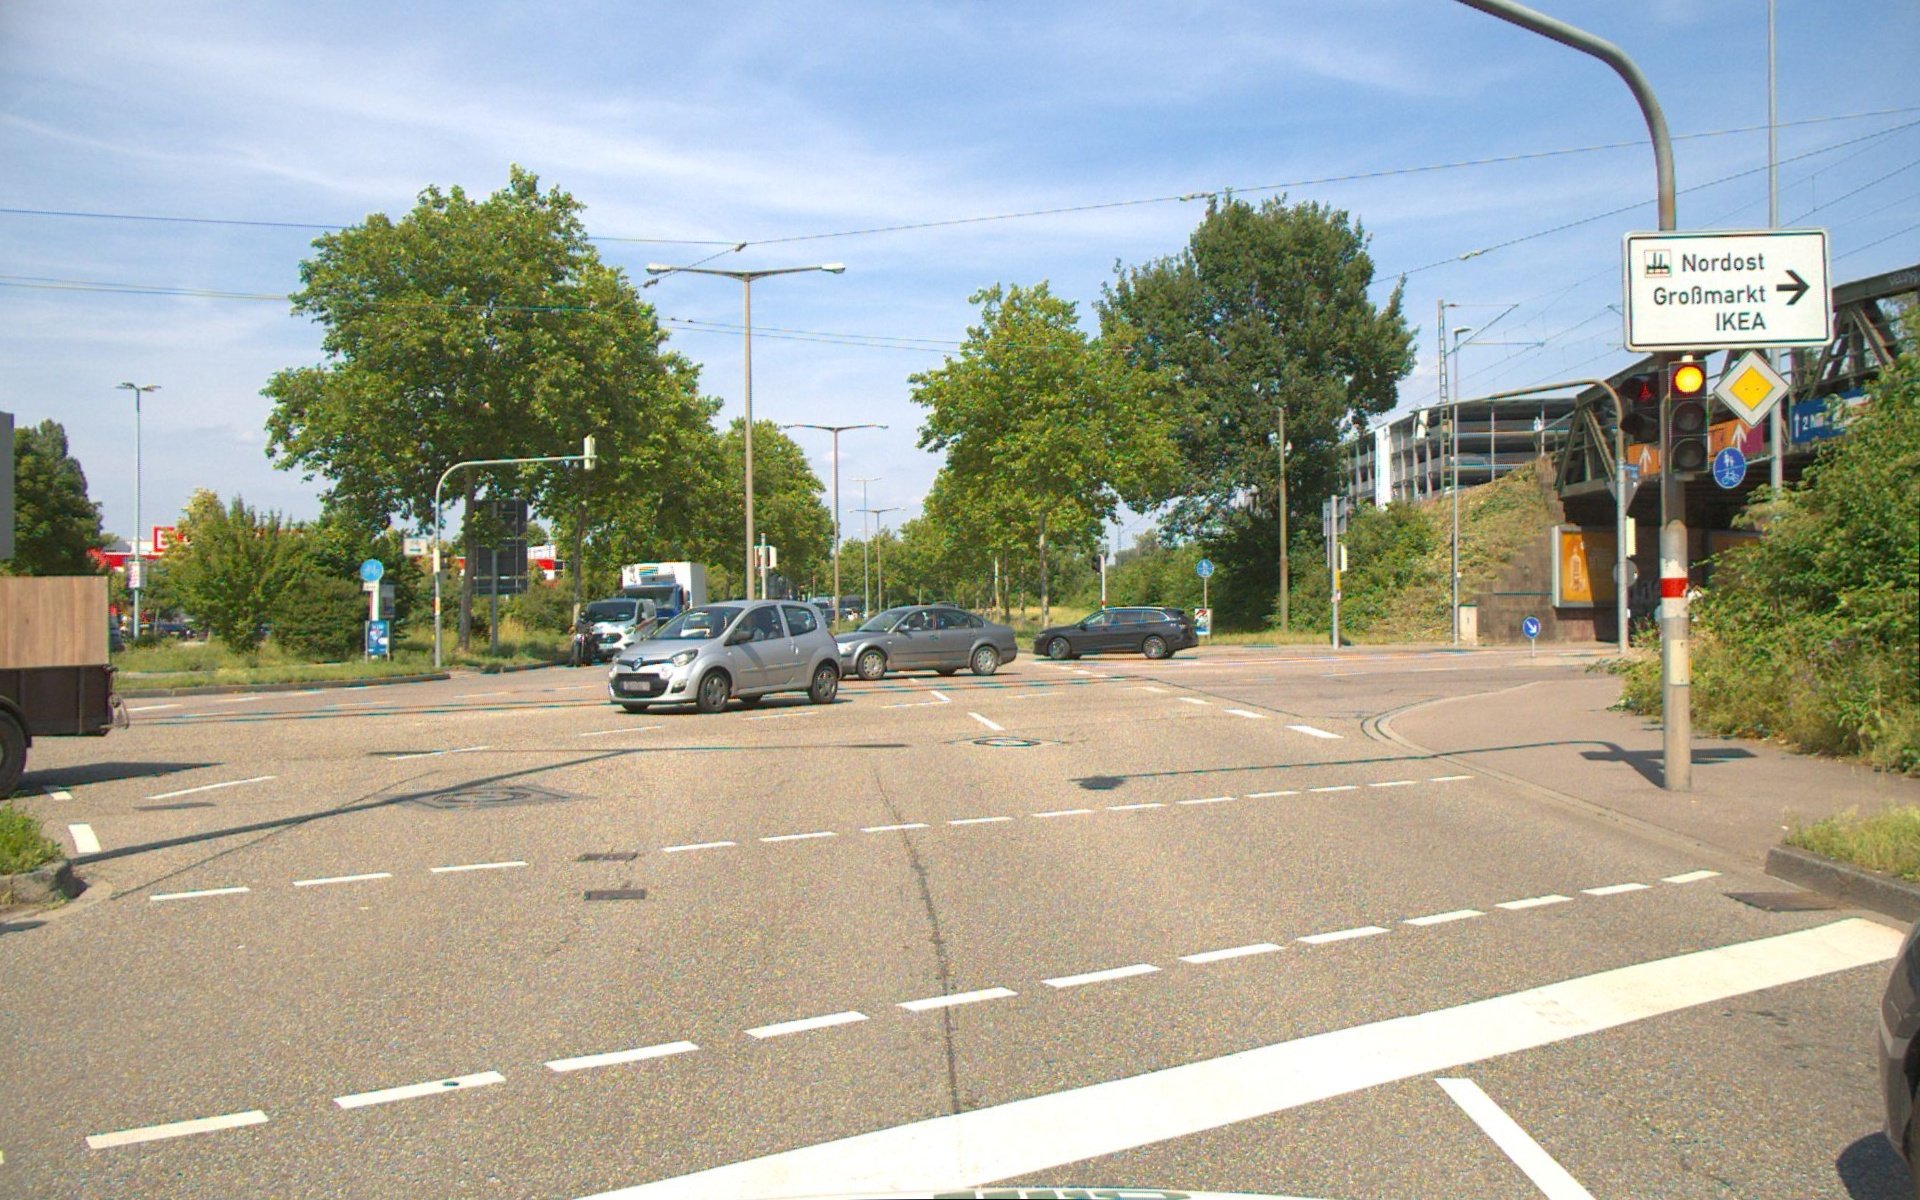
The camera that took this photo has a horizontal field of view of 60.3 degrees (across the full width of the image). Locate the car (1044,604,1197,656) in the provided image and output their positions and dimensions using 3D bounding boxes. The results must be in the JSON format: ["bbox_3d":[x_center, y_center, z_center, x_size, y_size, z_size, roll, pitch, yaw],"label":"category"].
[{"bbox_3d":[4.660,0.854,47.706,4.160,1.416,1.841,-1,0,14],"label":"car"}]

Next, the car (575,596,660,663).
[{"bbox_3d":[-10.940,0.902,53.154,1.937,2.034,5.028,-1,0,-3],"label":"car"}]

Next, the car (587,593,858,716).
[{"bbox_3d":[-3.215,0.689,22.996,1.621,1.540,3.722,-1,0,35],"label":"car"}]

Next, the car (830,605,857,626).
[{"bbox_3d":[-8.786,1.165,125.054,1.747,1.484,4.471,-2,0,-1],"label":"car"}]

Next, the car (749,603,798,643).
[{"bbox_3d":[-8.057,0.991,71.833,1.654,1.614,4.239,-2,0,-1],"label":"car"}]

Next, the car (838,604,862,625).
[{"bbox_3d":[-8.777,1.153,131.842,1.654,1.537,3.814,-2,0,-1],"label":"car"}]

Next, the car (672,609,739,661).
[{"bbox_3d":[-8.039,1.078,52.517,1.560,1.503,3.728,-2,0,-1],"label":"car"}]

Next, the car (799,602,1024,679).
[{"bbox_3d":[-0.938,0.780,33.576,4.409,1.436,1.620,-1,0,-34],"label":"car"}]

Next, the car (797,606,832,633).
[{"bbox_3d":[-8.547,1.135,97.430,1.749,1.515,4.209,-2,0,-2],"label":"car"}]

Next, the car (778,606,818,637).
[{"bbox_3d":[-8.282,1.086,84.739,1.654,1.497,3.814,-2,0,-1],"label":"car"}]

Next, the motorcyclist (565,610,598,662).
[{"bbox_3d":[-10.999,1.045,48.074,0.728,1.496,0.987,-1,0,-1],"label":"motorcyclist"}]

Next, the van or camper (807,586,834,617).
[{"bbox_3d":[-12.445,0.133,147.695,1.974,2.633,5.516,-2,0,-1],"label":"van or camper"}]

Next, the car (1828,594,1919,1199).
[{"bbox_3d":[3.007,0.737,2.091,1.640,1.479,4.035,1,0,-1],"label":"car"}]

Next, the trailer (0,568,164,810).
[{"bbox_3d":[-7.990,0.656,11.917,2.018,1.745,3.994,-1,0,13],"label":"trailer"}]

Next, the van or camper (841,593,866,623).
[{"bbox_3d":[-9.062,0.721,140.571,1.899,2.410,5.395,-2,-1,-2],"label":"van or camper"}]

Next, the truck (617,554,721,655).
[{"bbox_3d":[-11.047,0.157,63.402,2.747,3.532,6.690,-3,0,-1],"label":"truck"}]

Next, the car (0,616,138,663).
[{"bbox_3d":[-29.707,1.288,54.199,4.477,1.439,2.197,-1,0,-8],"label":"car"}]

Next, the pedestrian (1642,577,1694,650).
[{"bbox_3d":[16.337,0.306,38.164,0.850,1.640,0.777,-1,0,-1],"label":"pedestrian"}]

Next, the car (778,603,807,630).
[{"bbox_3d":[-12.020,1.172,118.714,1.654,1.891,4.035,-2,-1,-1],"label":"car"}]

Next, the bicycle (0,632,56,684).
[{"bbox_3d":[-19.941,1.214,34.696,0.581,1.055,1.897,-1,0,13],"label":"bicycle"}]

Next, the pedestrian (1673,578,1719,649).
[{"bbox_3d":[17.096,0.309,38.429,0.714,1.607,0.777,-1,0,-1],"label":"pedestrian"}]

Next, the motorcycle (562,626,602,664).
[{"bbox_3d":[-10.963,1.294,47.980,0.674,1.009,2.217,-1,0,-1],"label":"motorcycle"}]
